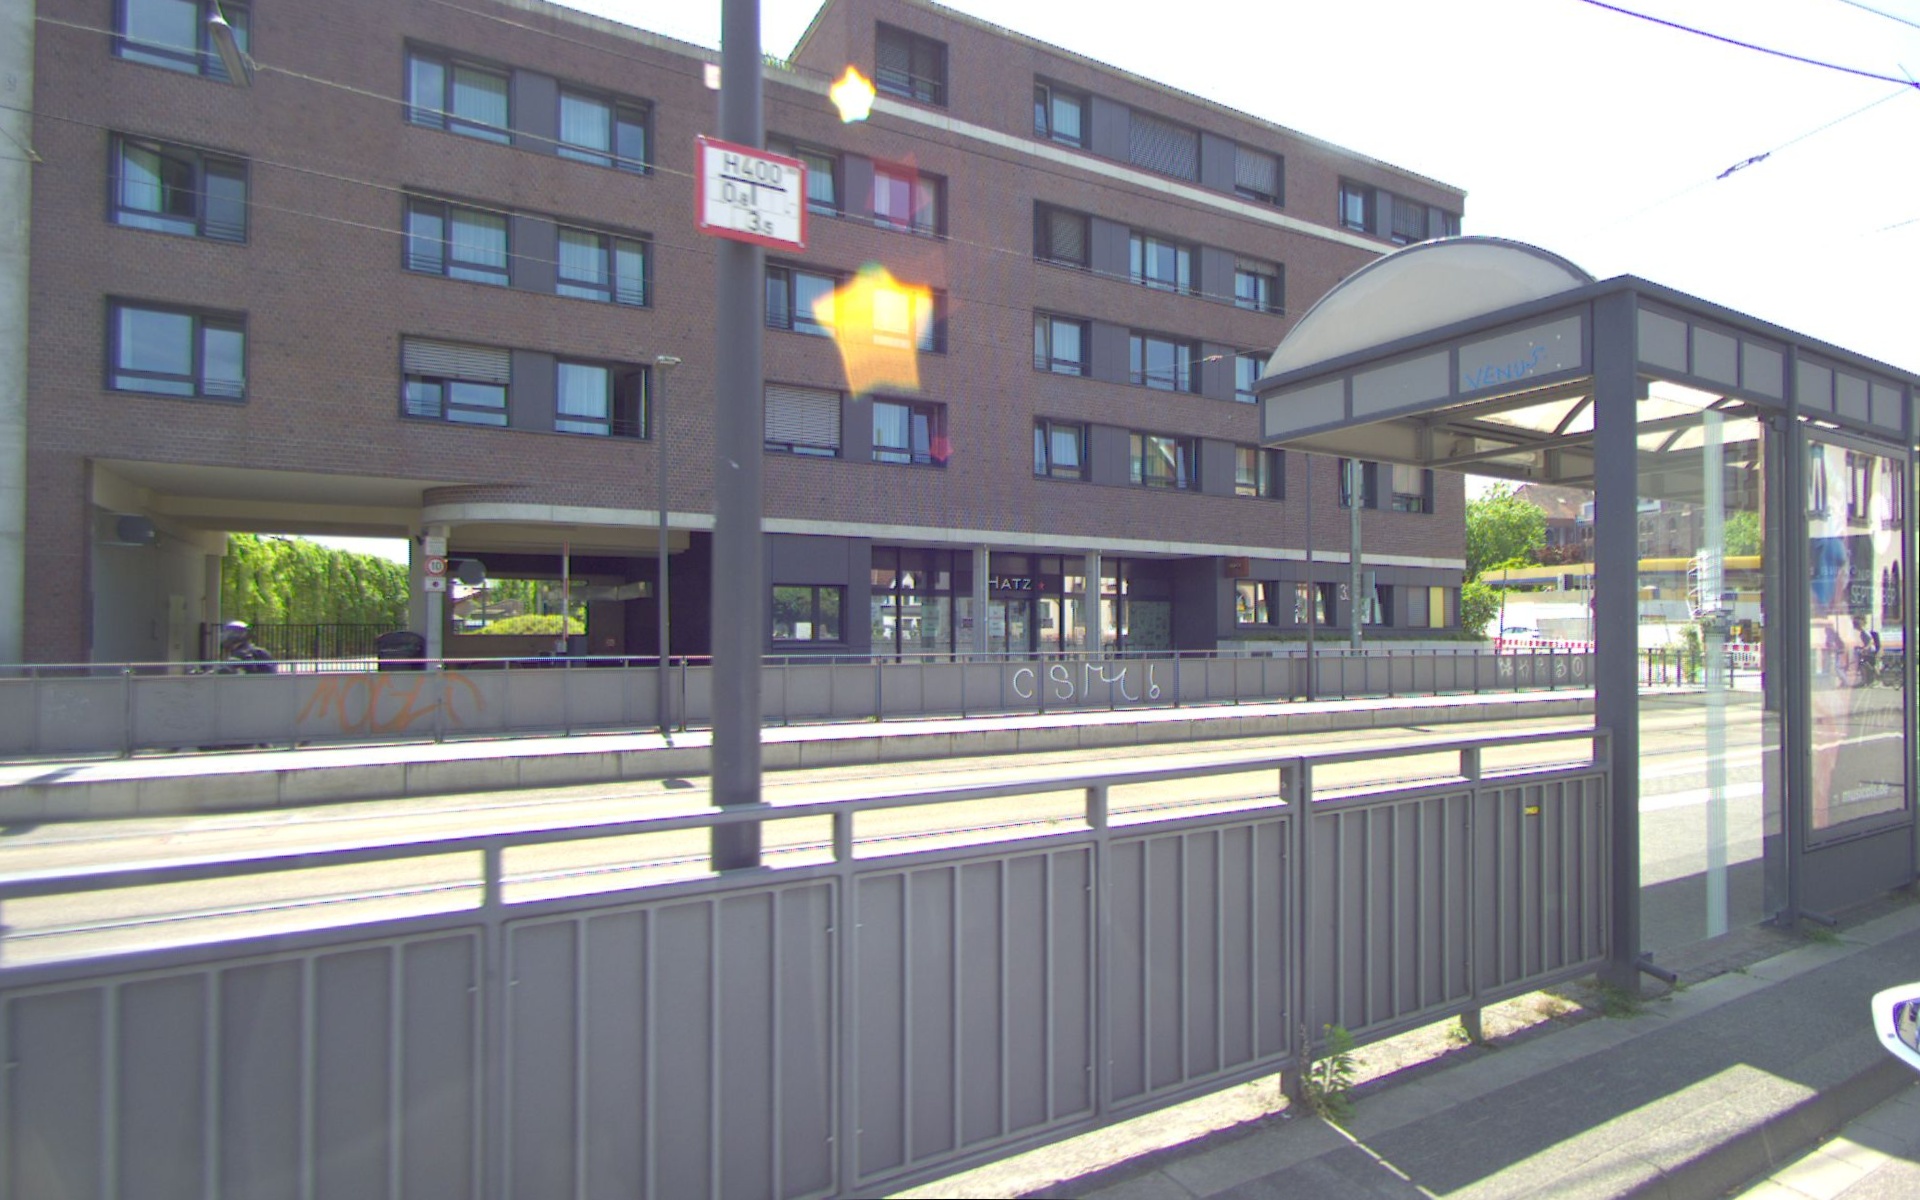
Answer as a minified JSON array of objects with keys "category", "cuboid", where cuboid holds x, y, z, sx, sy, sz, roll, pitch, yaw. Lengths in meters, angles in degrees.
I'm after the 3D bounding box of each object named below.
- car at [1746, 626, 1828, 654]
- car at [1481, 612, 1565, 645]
[{"category":"car","cuboid":[50.904,2.450,61.853,4.127,1.525,1.826,0,1,-14]},{"category":"car","cuboid":[32.486,1.626,58.063,1.859,1.769,4.267,1,0,-13]}]
